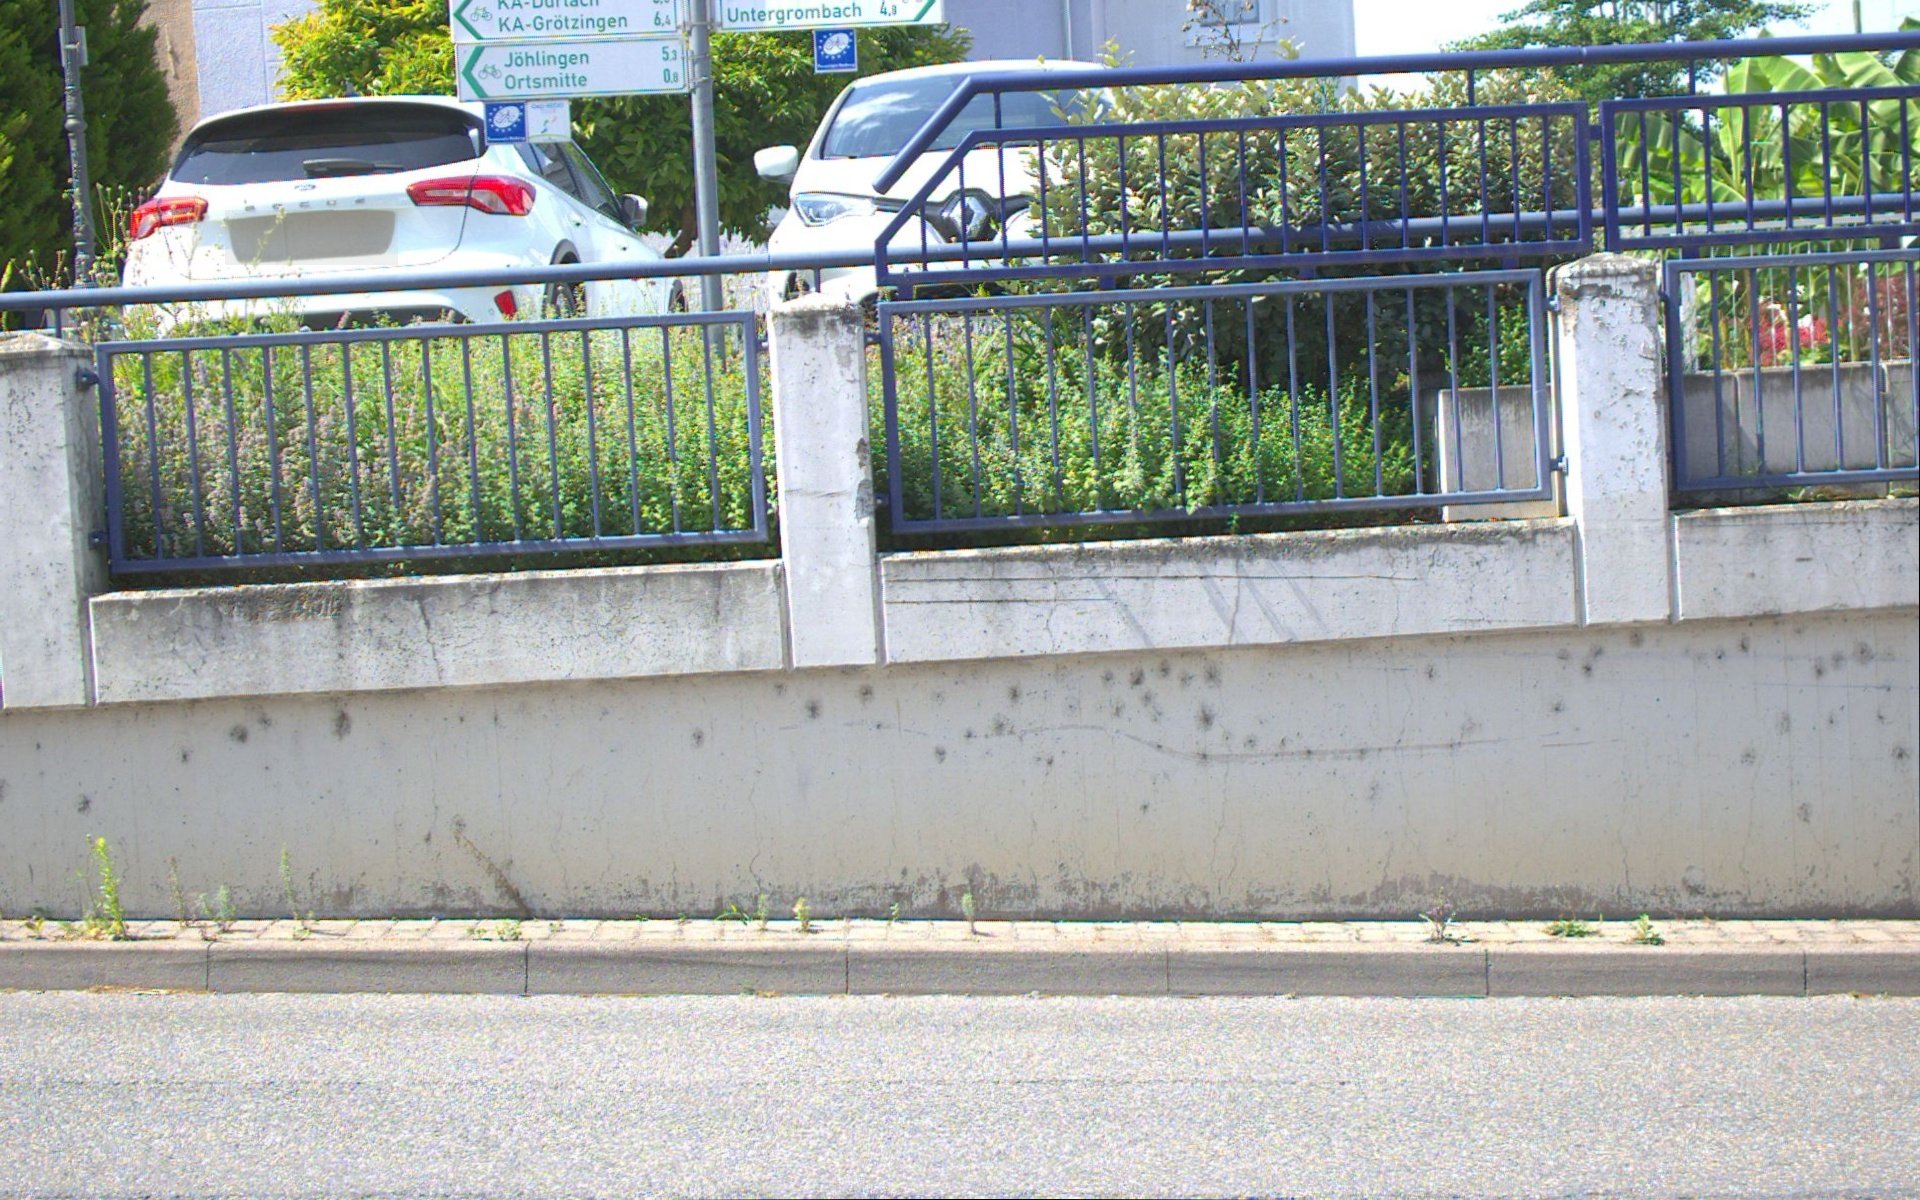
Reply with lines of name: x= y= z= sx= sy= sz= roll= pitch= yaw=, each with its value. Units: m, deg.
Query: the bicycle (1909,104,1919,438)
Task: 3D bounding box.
bicycle: x=4.300 y=-1.144 z=11.546 sx=2.114 sy=1.122 sz=0.333 roll=-2 pitch=4 yaw=-2

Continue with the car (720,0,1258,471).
car: x=0.260 y=-1.480 z=14.962 sx=1.994 sy=1.791 sz=4.196 roll=1 pitch=2 yaw=4

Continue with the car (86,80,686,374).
car: x=-2.385 y=-1.572 z=15.151 sx=1.825 sy=1.016 sz=3.459 roll=1 pitch=2 yaw=4
